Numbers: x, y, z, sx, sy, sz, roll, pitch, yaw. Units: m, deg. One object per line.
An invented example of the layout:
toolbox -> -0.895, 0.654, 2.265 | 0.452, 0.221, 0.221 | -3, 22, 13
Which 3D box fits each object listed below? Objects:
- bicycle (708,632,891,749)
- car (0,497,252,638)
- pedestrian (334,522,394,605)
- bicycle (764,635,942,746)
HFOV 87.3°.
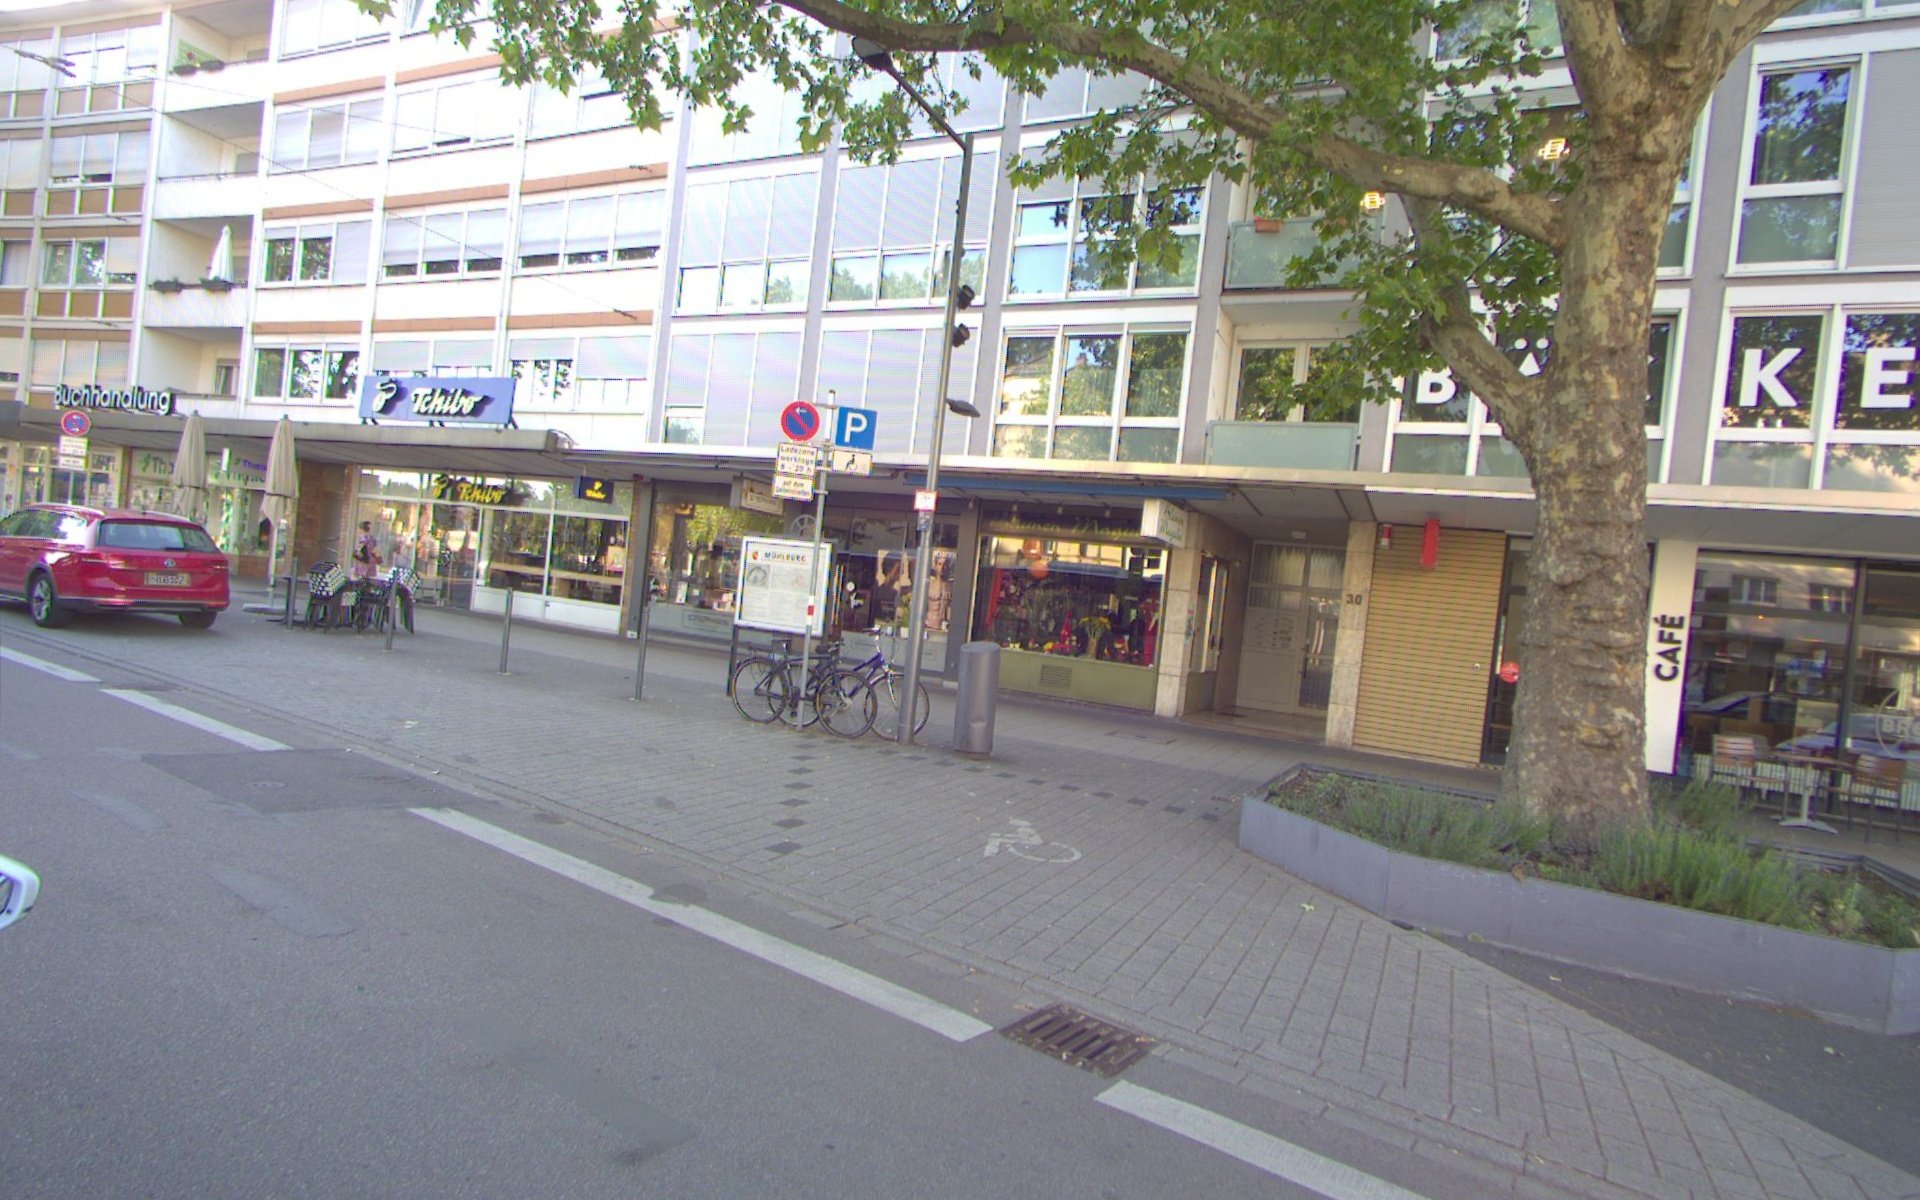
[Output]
bicycle -> -1.636, 0.900, 10.239 | 1.743, 0.951, 0.391 | 6, 2, 12
car -> -11.639, -0.492, 13.459 | 4.229, 1.502, 1.772 | 6, 1, 28
pedestrian -> -12.163, -0.741, 20.547 | 0.776, 1.613, 0.651 | 7, 3, 26
bicycle -> -1.123, 0.930, 10.560 | 1.743, 0.931, 0.391 | 6, 2, 12
